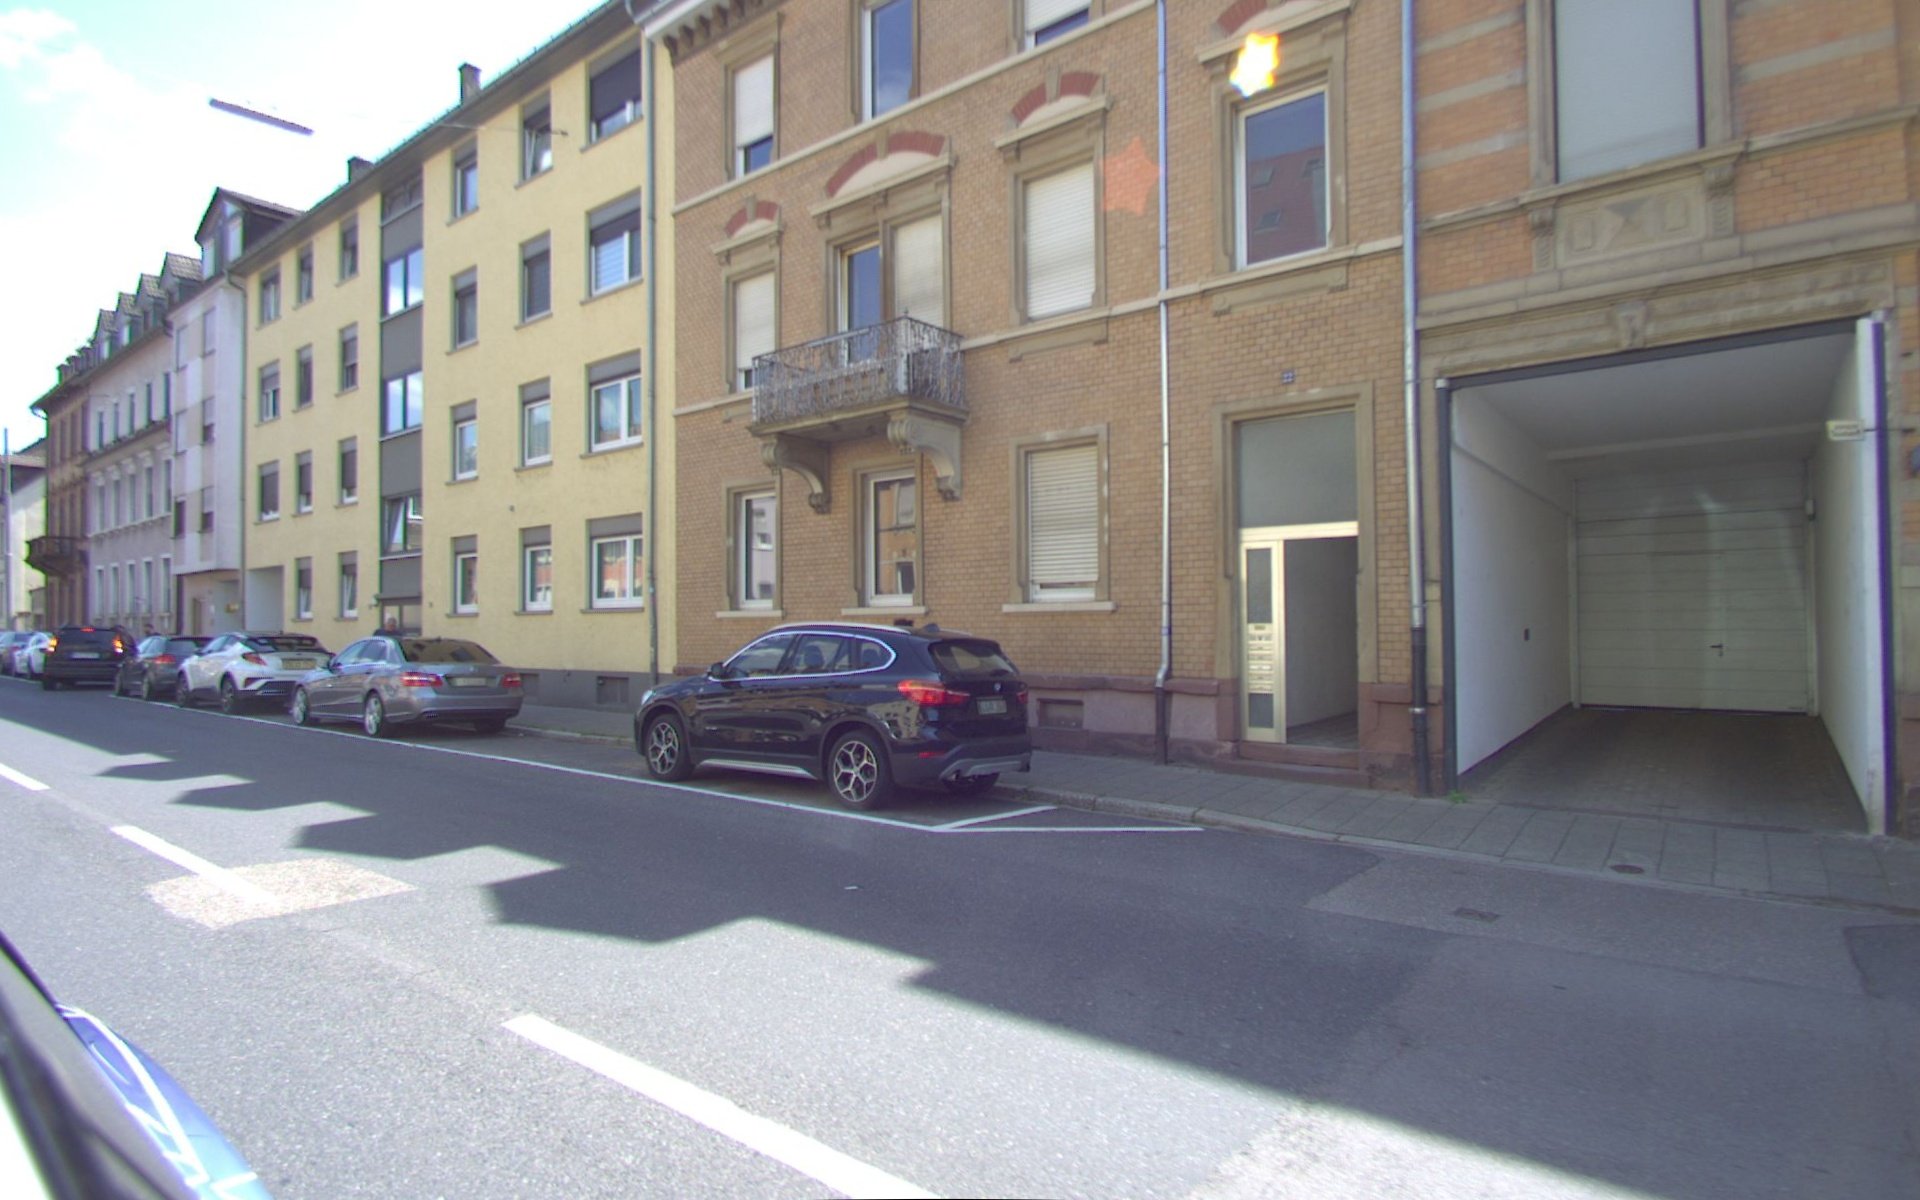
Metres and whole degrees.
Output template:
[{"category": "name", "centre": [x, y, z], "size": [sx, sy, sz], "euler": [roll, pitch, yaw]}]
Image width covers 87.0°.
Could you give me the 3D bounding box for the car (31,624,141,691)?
[{"category": "car", "centre": [-22.850, 1.507, 26.590], "size": [1.721, 1.600, 3.962], "euler": [4, -5, -35]}]

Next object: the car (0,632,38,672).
[{"category": "car", "centre": [-36.625, 1.945, 38.266], "size": [4.095, 1.422, 1.729], "euler": [-1, -5, 36]}]

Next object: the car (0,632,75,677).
[{"category": "car", "centre": [-31.735, 1.830, 34.222], "size": [4.504, 1.422, 1.729], "euler": [-1, -5, 36]}]

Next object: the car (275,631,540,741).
[{"category": "car", "centre": [-8.608, 1.256, 15.617], "size": [4.680, 1.463, 1.886], "euler": [-2, -5, 39]}]

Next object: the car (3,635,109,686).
[{"category": "car", "centre": [-27.546, 1.822, 30.801], "size": [4.280, 1.422, 1.727], "euler": [-2, -5, 40]}]

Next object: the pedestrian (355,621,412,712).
[{"category": "pedestrian", "centre": [-11.580, 1.306, 20.314], "size": [0.793, 1.769, 0.876], "euler": [1, -2, -43]}]

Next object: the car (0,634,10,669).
[{"category": "car", "centre": [-40.979, 2.084, 41.803], "size": [4.095, 1.422, 1.729], "euler": [-1, -5, 36]}]

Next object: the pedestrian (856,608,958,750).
[{"category": "pedestrian", "centre": [-0.615, 0.874, 11.650], "size": [0.876, 1.546, 0.794], "euler": [-2, -2, 43]}]

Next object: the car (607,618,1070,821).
[{"category": "car", "centre": [-1.330, 1.033, 9.961], "size": [4.493, 1.563, 1.847], "euler": [-1, -5, 37]}]

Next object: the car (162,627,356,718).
[{"category": "car", "centre": [-13.597, 1.361, 19.552], "size": [4.308, 1.563, 1.847], "euler": [-2, -5, 38]}]

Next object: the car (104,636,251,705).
[{"category": "car", "centre": [-17.608, 1.554, 22.710], "size": [3.911, 1.422, 1.727], "euler": [-2, -5, 40]}]
